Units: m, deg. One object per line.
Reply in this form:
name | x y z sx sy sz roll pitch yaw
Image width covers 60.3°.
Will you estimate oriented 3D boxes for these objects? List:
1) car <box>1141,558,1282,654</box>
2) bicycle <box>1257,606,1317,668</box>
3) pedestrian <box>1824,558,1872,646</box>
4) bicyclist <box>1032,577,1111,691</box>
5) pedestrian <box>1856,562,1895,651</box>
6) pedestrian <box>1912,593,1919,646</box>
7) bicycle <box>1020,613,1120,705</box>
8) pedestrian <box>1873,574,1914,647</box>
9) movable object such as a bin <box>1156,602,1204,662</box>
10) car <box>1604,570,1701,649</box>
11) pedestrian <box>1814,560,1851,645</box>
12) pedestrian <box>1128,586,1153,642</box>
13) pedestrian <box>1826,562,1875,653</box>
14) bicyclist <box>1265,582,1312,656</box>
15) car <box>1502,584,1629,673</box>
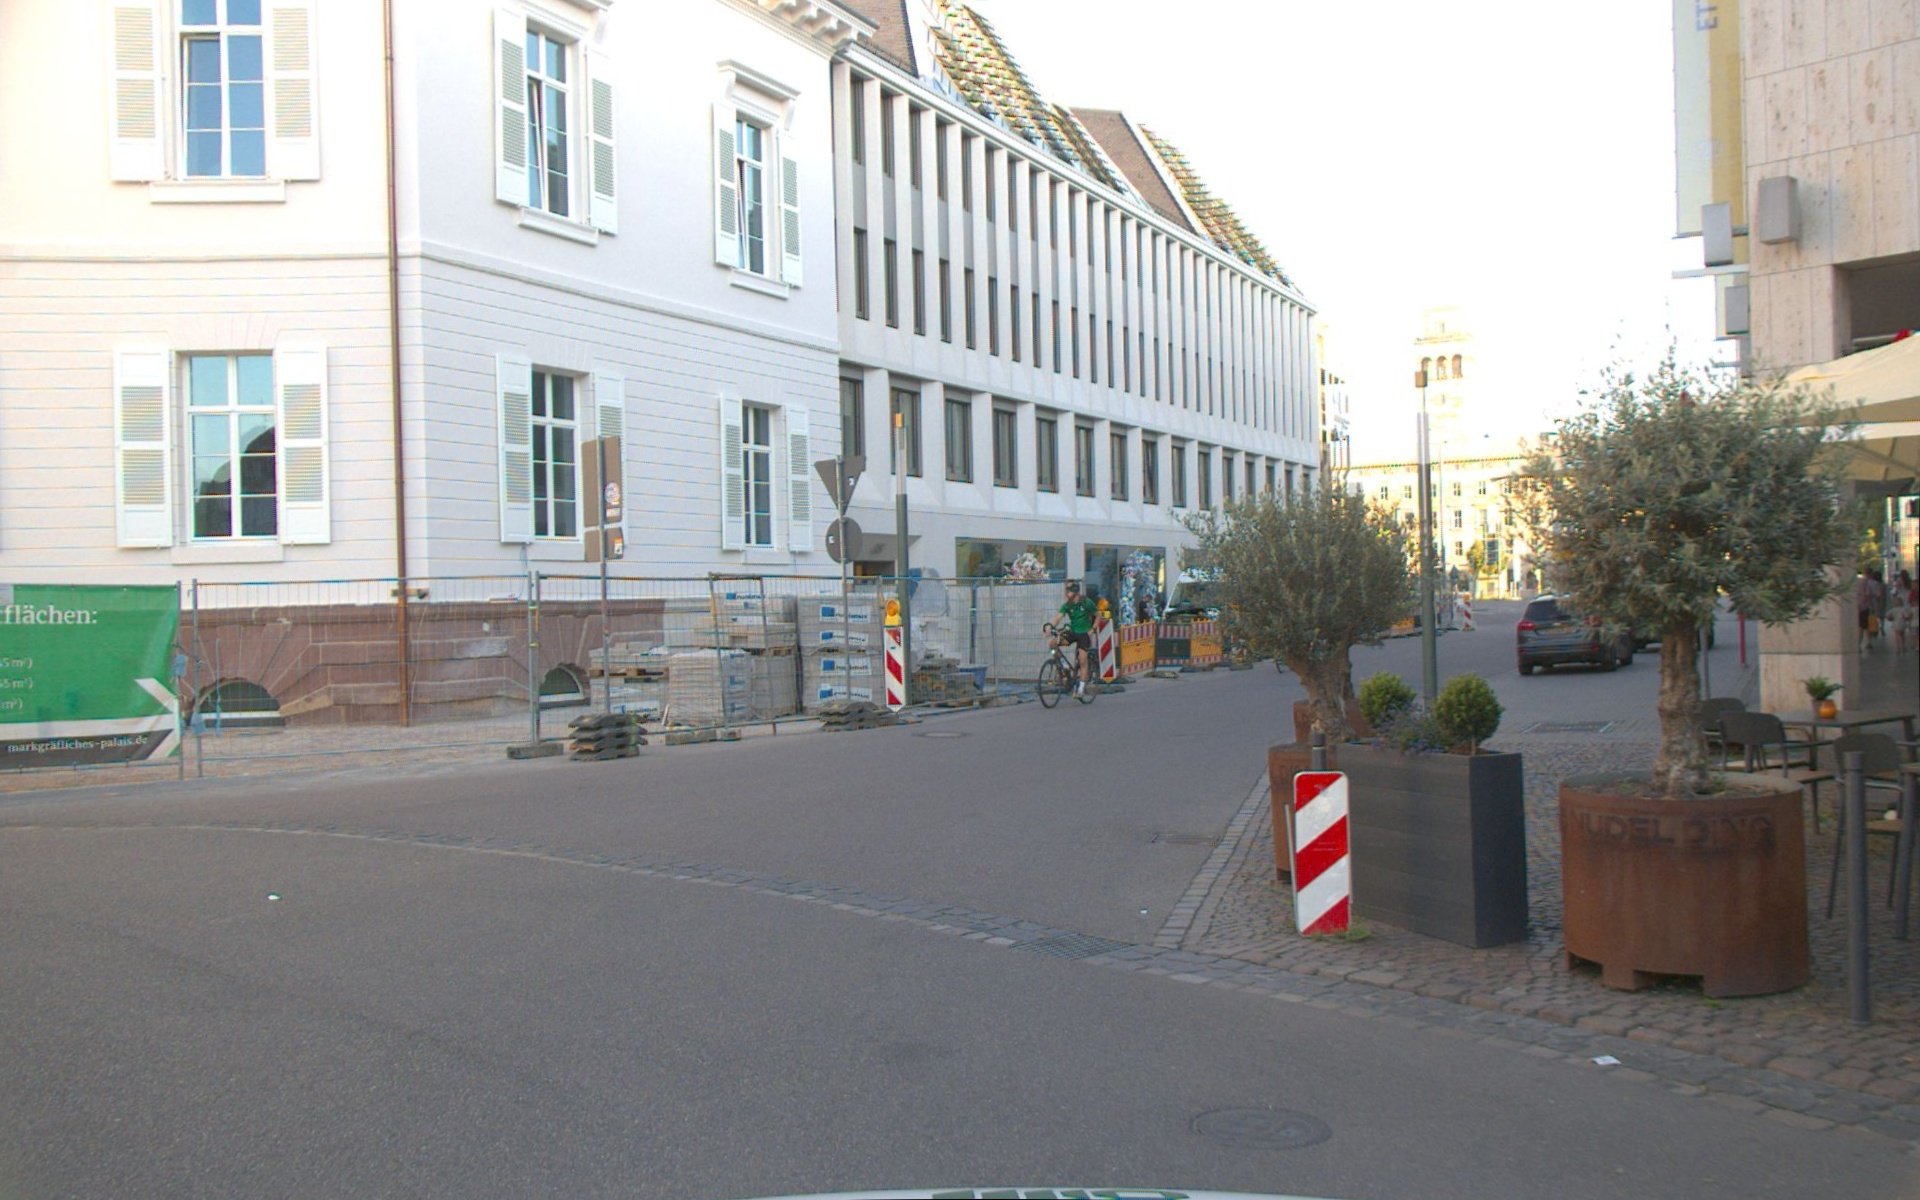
car | 7.170 0.147 46.600 2.131 2.513 5.993 -1 0 27
bicycle | 7.062 0.781 35.624 0.780 1.238 2.232 -2 0 24
pedestrian | 17.750 0.039 33.074 0.750 1.710 0.876 -2 1 26
bicyclist | 1.647 0.488 24.361 0.780 1.631 1.231 -2 0 22
pedestrian | 19.085 0.140 34.484 0.621 1.805 0.774 -2 1 26
pedestrian | 18.704 0.369 32.021 0.411 1.003 0.525 -2 1 26
bicycle | 1.652 0.842 24.354 0.780 1.238 2.233 -2 0 22
pedestrian | 18.291 0.205 32.426 0.621 1.369 0.774 -2 1 26
movable object such as a bin | 5.696 0.811 42.742 1.021 1.492 1.395 -1 0 15
car | 16.571 0.198 39.505 1.734 1.666 4.053 -5 -2 27
pedestrian | 17.964 0.053 34.056 0.579 1.728 0.696 -2 0 25
pedestrian | 5.282 0.402 48.286 0.531 1.605 0.579 -2 0 25
pedestrian | 17.303 0.138 32.154 0.750 1.710 0.876 -2 1 26
bicyclist | 7.080 0.393 35.644 0.780 1.559 0.974 -2 0 24
car | 11.933 0.521 32.437 1.760 1.516 4.188 -5 -2 27
